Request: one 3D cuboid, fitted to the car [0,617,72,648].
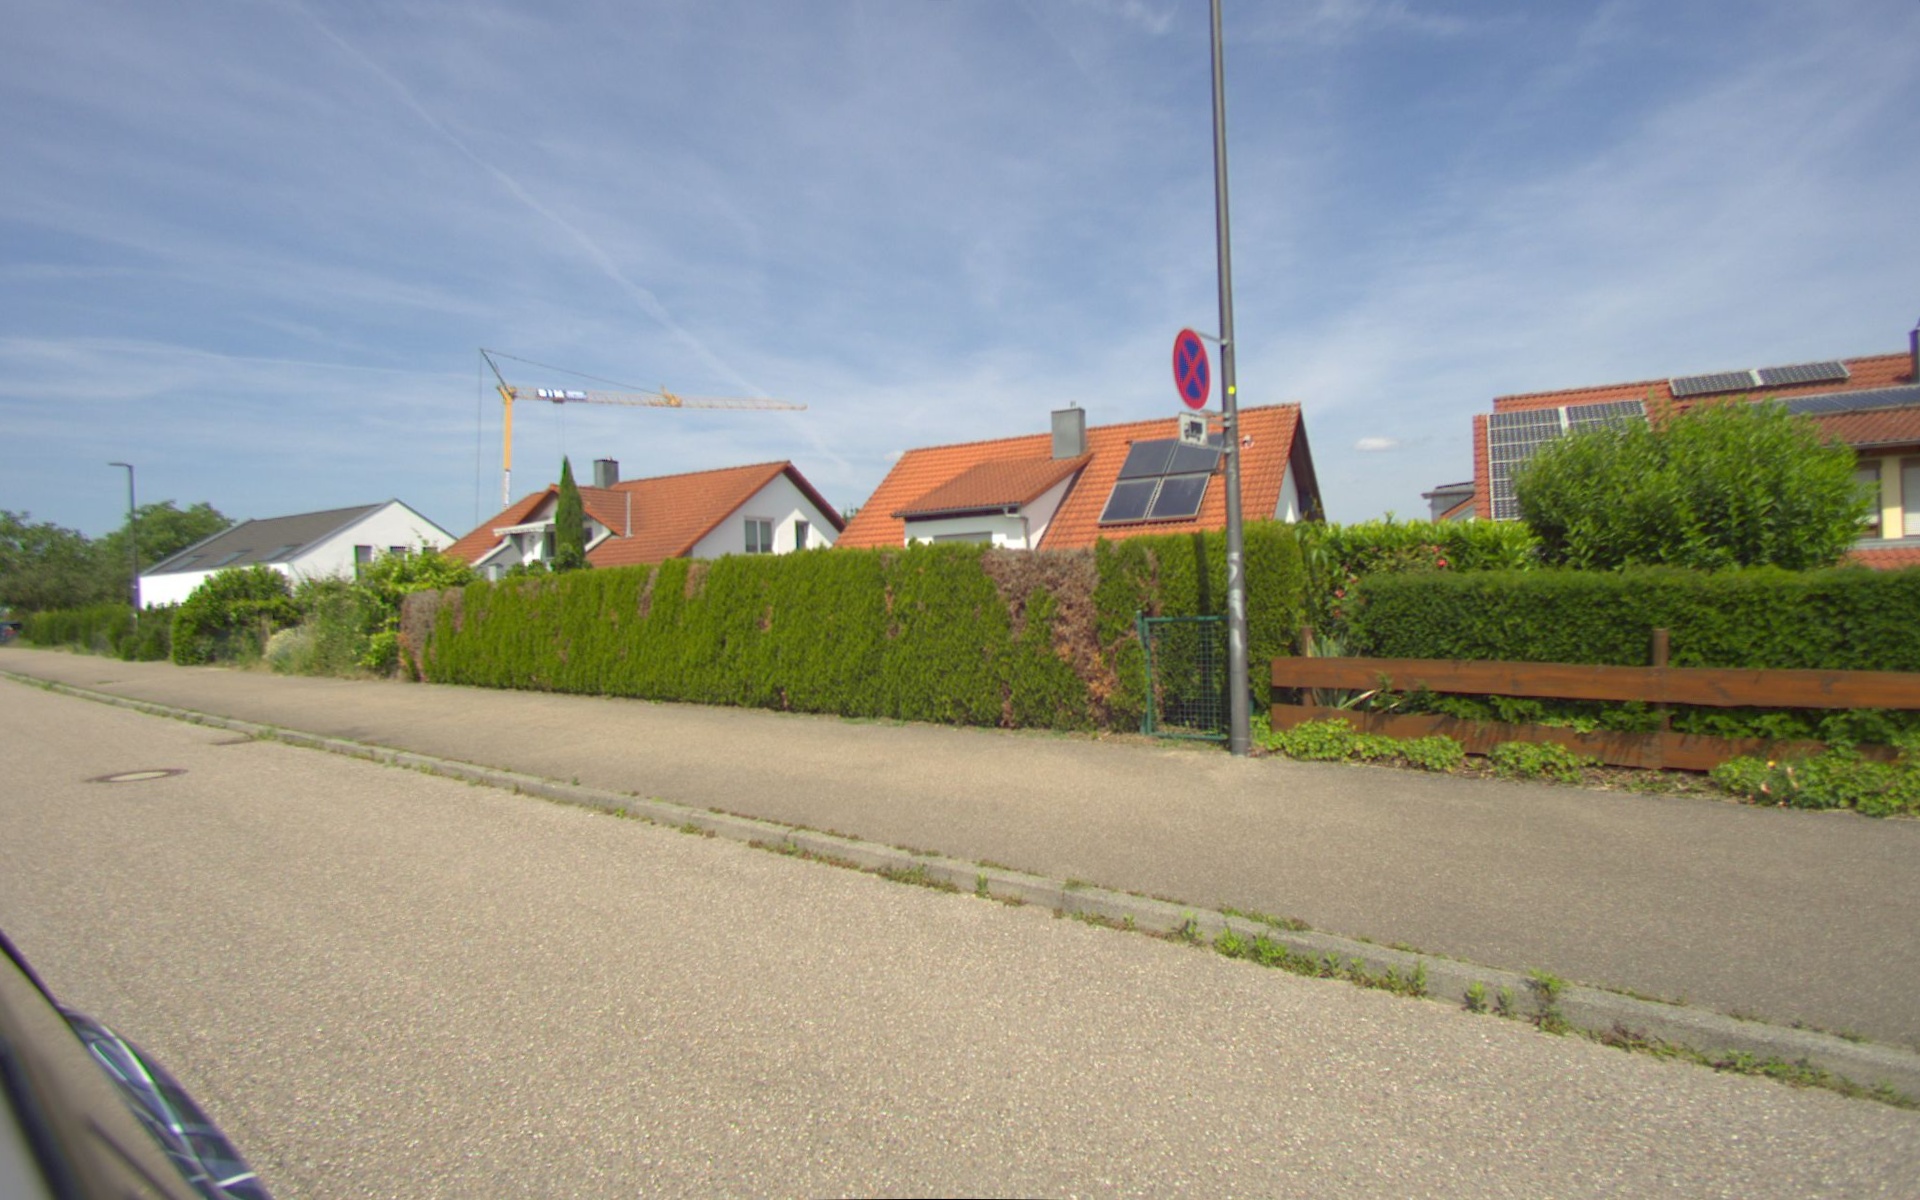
[{"bbox_3d":[-61.901,2.165,67.554,1.801,1.826,3.832,-2,0,45],"label":"car"}]

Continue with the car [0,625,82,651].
[{"bbox_3d":[-55.993,2.283,61.538,1.801,1.331,3.832,-2,0,45],"label":"car"}]
